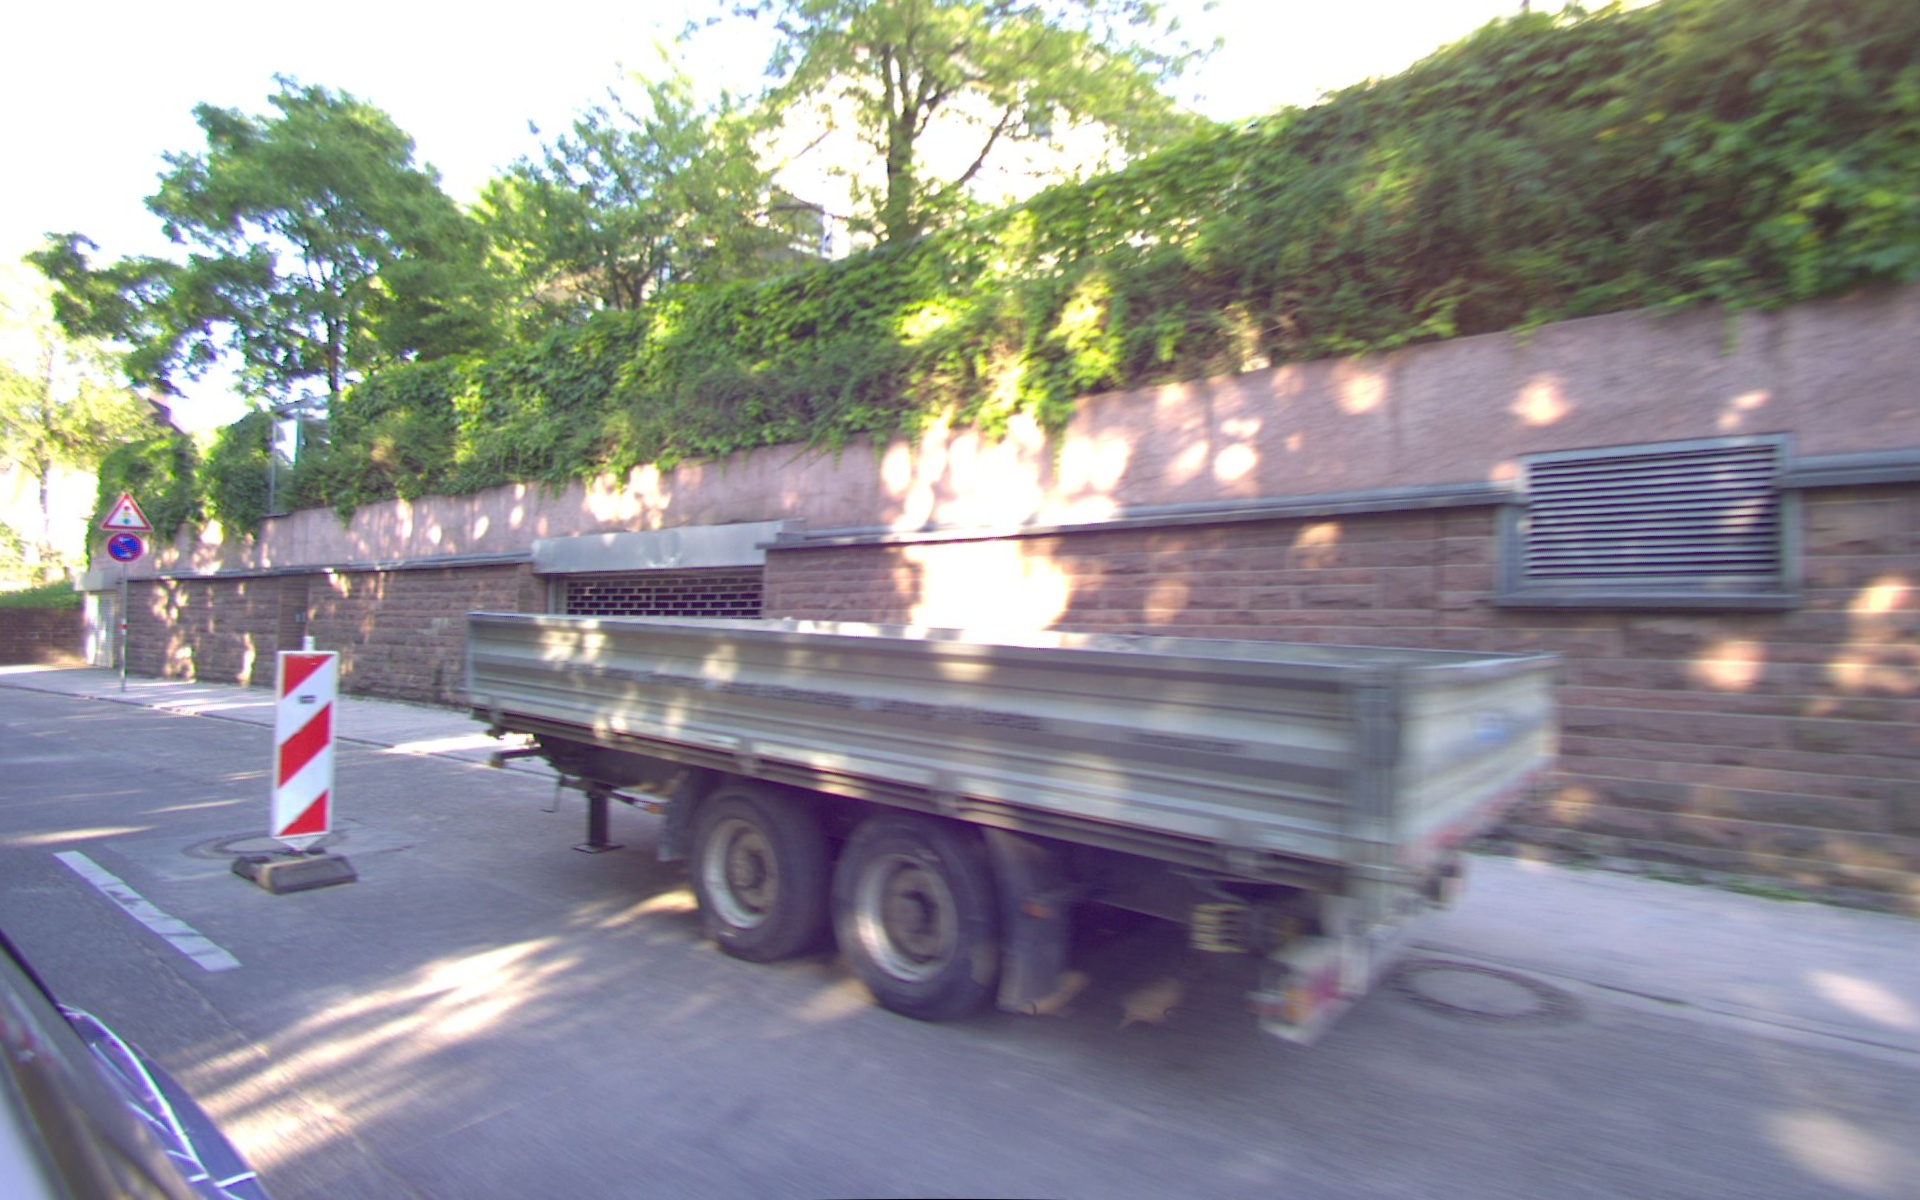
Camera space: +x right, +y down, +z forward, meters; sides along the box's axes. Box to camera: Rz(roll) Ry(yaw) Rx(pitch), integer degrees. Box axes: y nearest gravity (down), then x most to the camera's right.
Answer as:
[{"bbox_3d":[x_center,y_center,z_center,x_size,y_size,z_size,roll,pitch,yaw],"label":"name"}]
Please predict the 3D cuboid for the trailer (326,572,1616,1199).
[{"bbox_3d":[-0.718,0.717,5.621,7.111,1.500,2.614,0,-1,39],"label":"trailer"}]
